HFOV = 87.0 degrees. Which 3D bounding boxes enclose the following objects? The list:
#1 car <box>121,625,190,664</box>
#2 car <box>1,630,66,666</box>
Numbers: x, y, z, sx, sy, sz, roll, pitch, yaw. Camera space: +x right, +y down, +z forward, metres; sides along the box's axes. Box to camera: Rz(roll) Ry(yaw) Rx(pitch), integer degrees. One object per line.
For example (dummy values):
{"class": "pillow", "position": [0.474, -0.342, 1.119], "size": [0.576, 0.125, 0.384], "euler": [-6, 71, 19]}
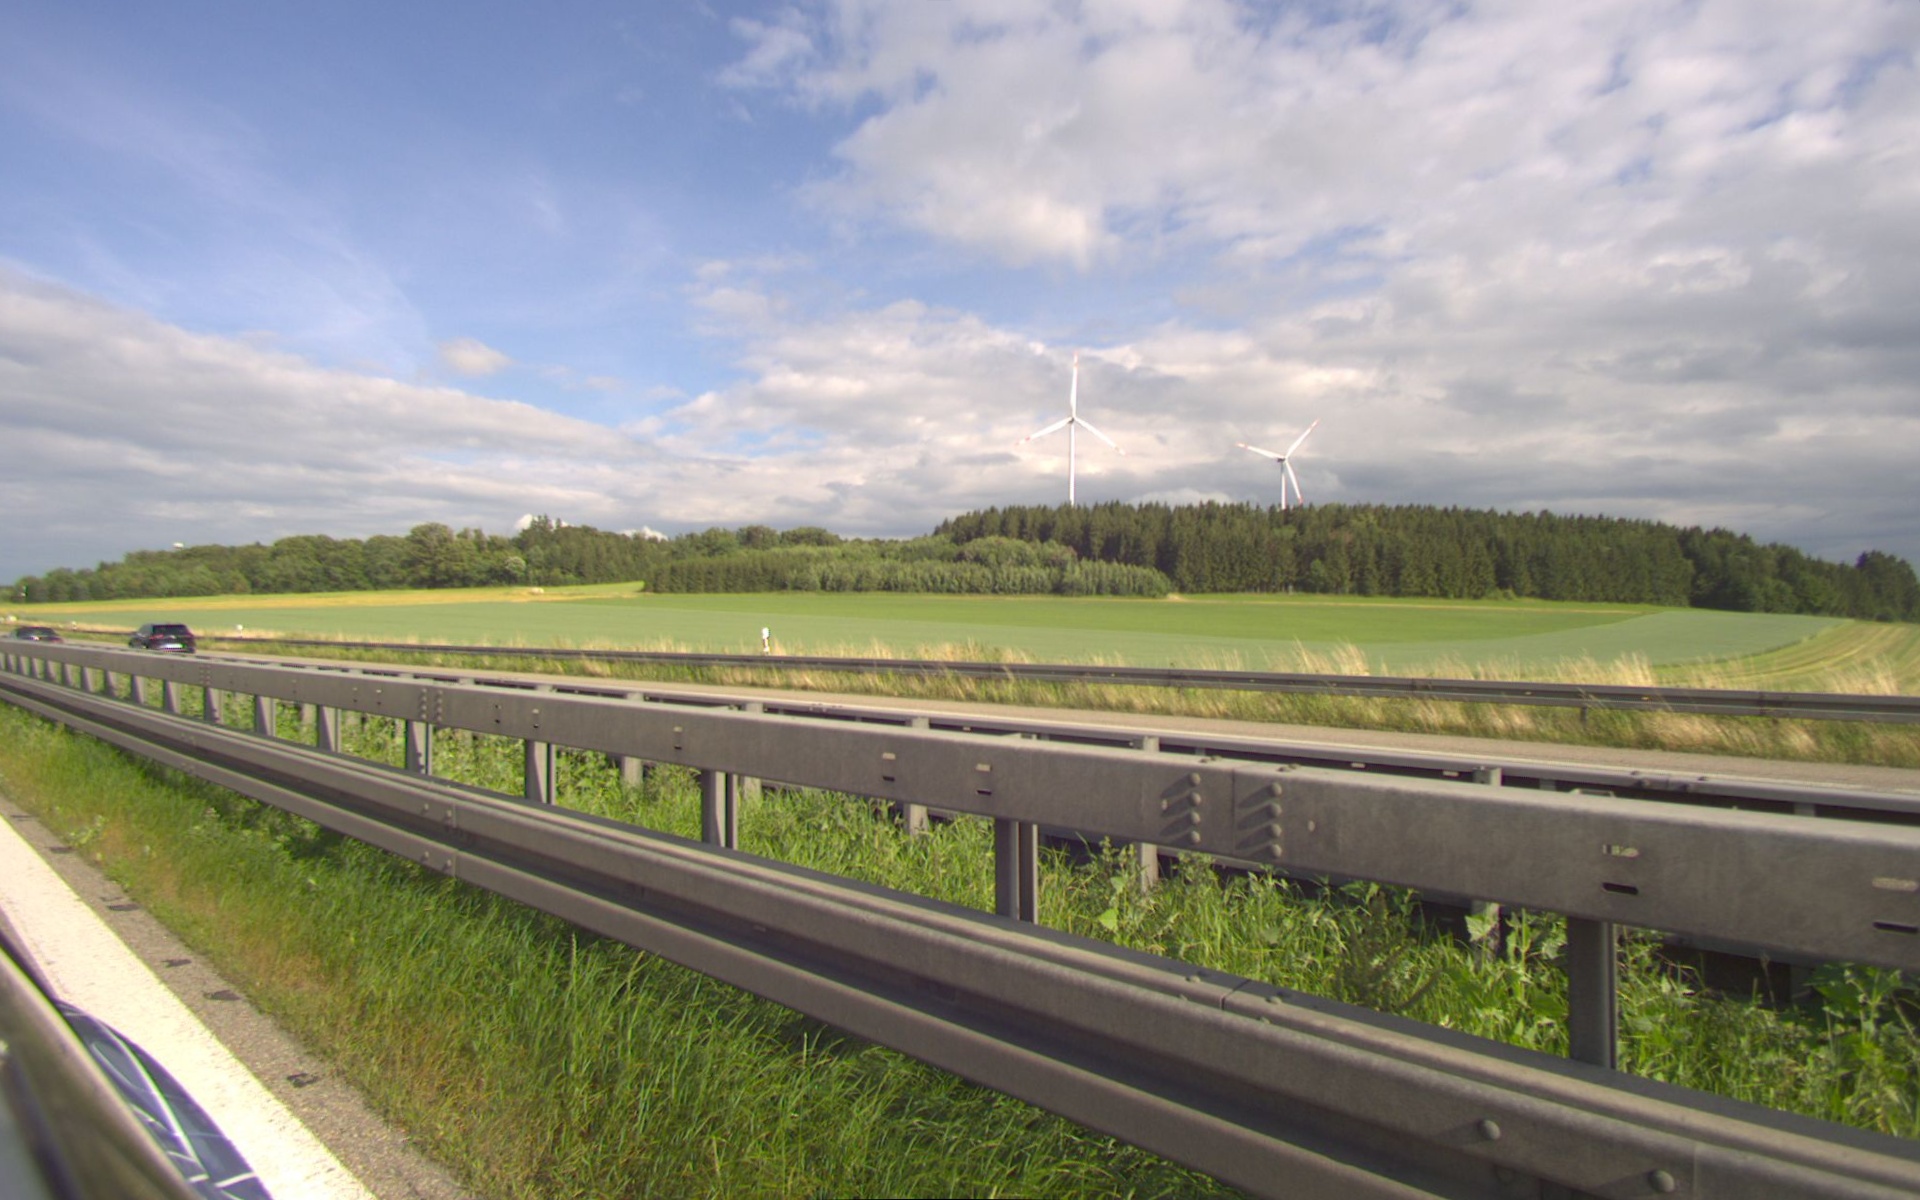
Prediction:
{"class": "car", "position": [-35.057, 1.906, 44.083], "size": [3.997, 1.532, 1.599], "euler": [-1, 0, 40]}
{"class": "car", "position": [-40.306, 2.063, 44.000], "size": [3.997, 1.402, 1.599], "euler": [-1, 0, 40]}
